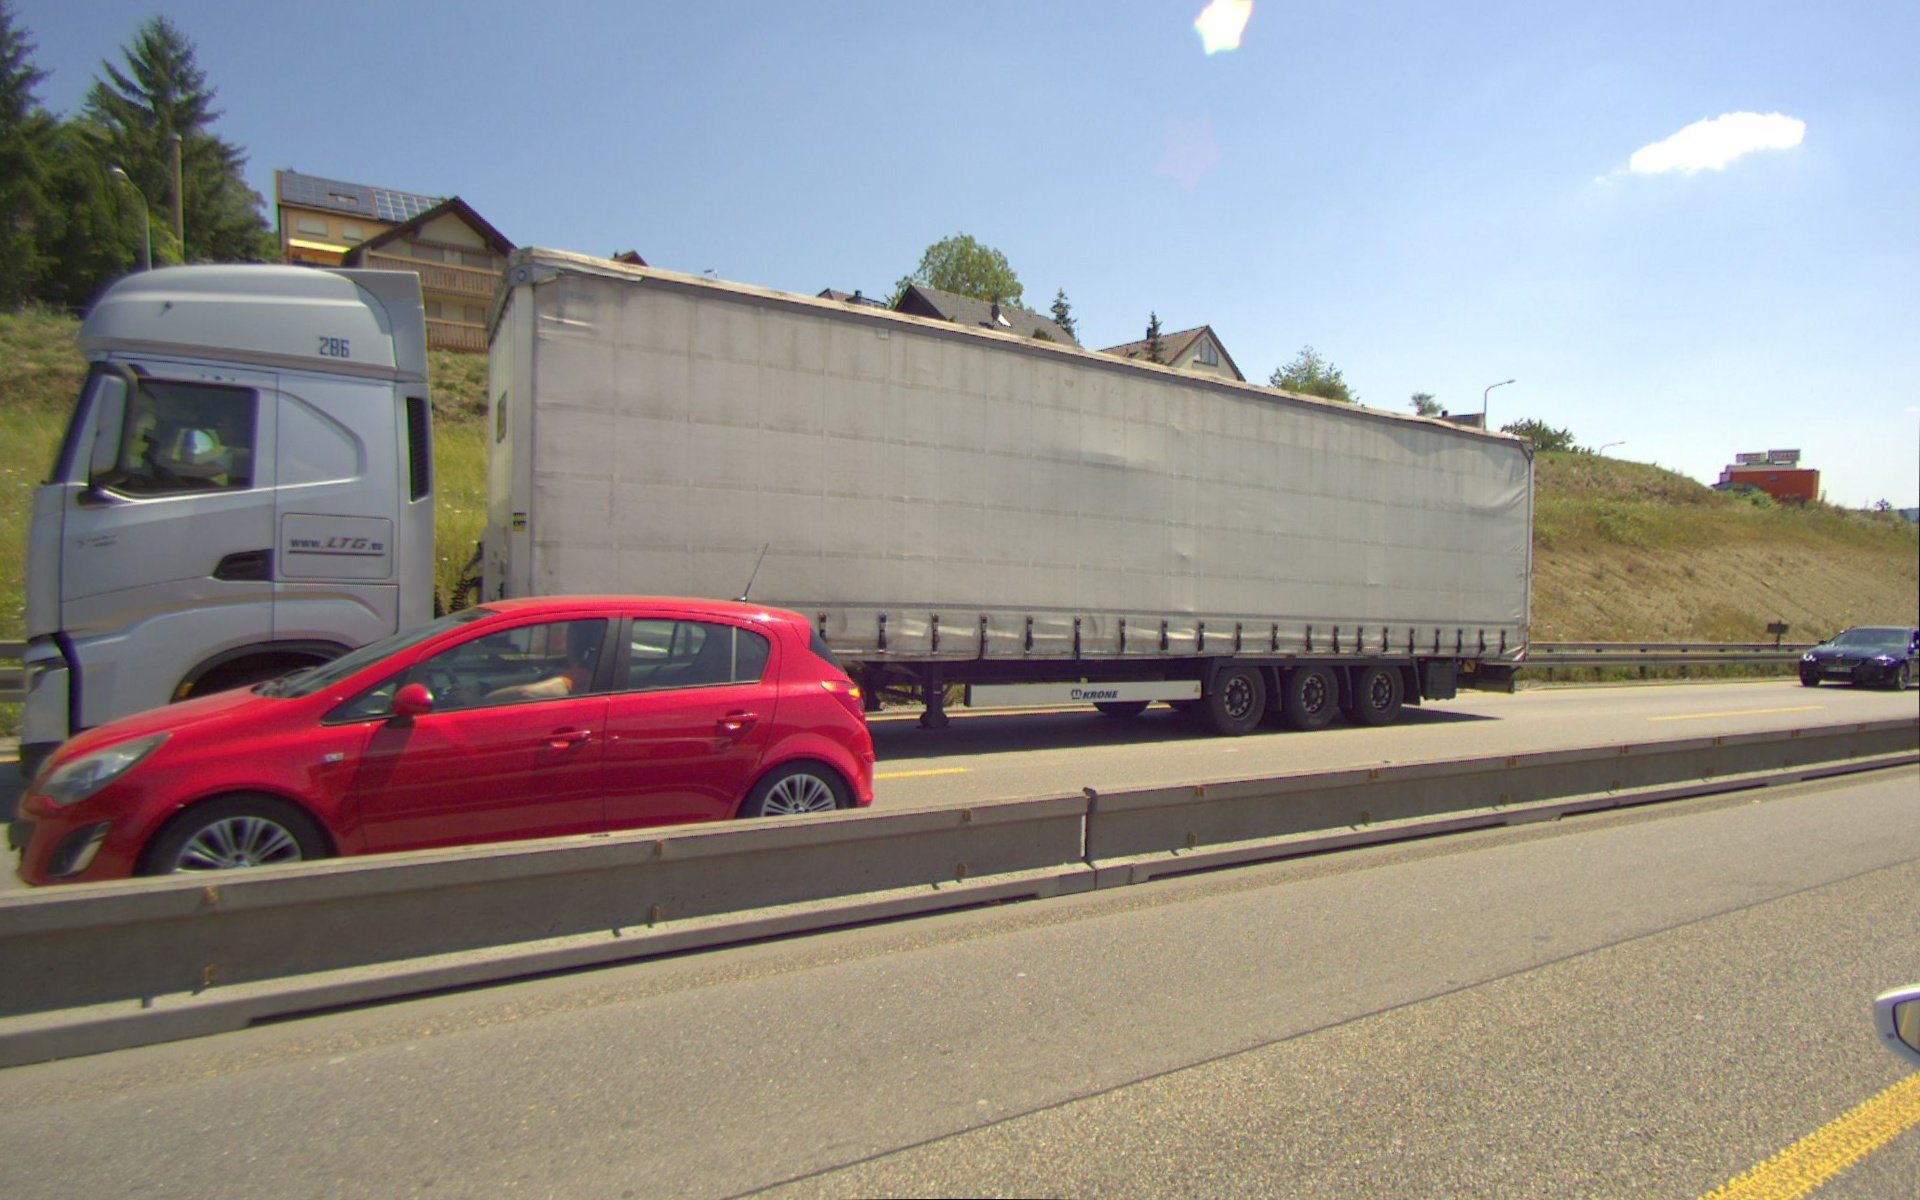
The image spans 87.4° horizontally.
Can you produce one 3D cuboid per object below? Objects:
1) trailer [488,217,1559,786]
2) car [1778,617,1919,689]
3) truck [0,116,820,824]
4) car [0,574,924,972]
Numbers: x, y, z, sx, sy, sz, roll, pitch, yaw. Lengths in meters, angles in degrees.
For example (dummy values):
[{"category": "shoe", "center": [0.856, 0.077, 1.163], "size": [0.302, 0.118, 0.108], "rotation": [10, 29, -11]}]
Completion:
[{"category": "trailer", "center": [2.005, -0.617, 12.218], "size": [13.815, 4.238, 2.772], "rotation": [1, 0, -31]}, {"category": "car", "center": [22.021, 1.255, 24.270], "size": [4.664, 1.527, 1.984], "rotation": [2, 0, -31]}, {"category": "truck", "center": [-4.169, -0.738, 8.536], "size": [5.226, 4.238, 2.732], "rotation": [1, 0, -30]}, {"category": "car", "center": [-2.324, 0.674, 5.445], "size": [3.953, 1.486, 1.661], "rotation": [1, 0, -30]}]
